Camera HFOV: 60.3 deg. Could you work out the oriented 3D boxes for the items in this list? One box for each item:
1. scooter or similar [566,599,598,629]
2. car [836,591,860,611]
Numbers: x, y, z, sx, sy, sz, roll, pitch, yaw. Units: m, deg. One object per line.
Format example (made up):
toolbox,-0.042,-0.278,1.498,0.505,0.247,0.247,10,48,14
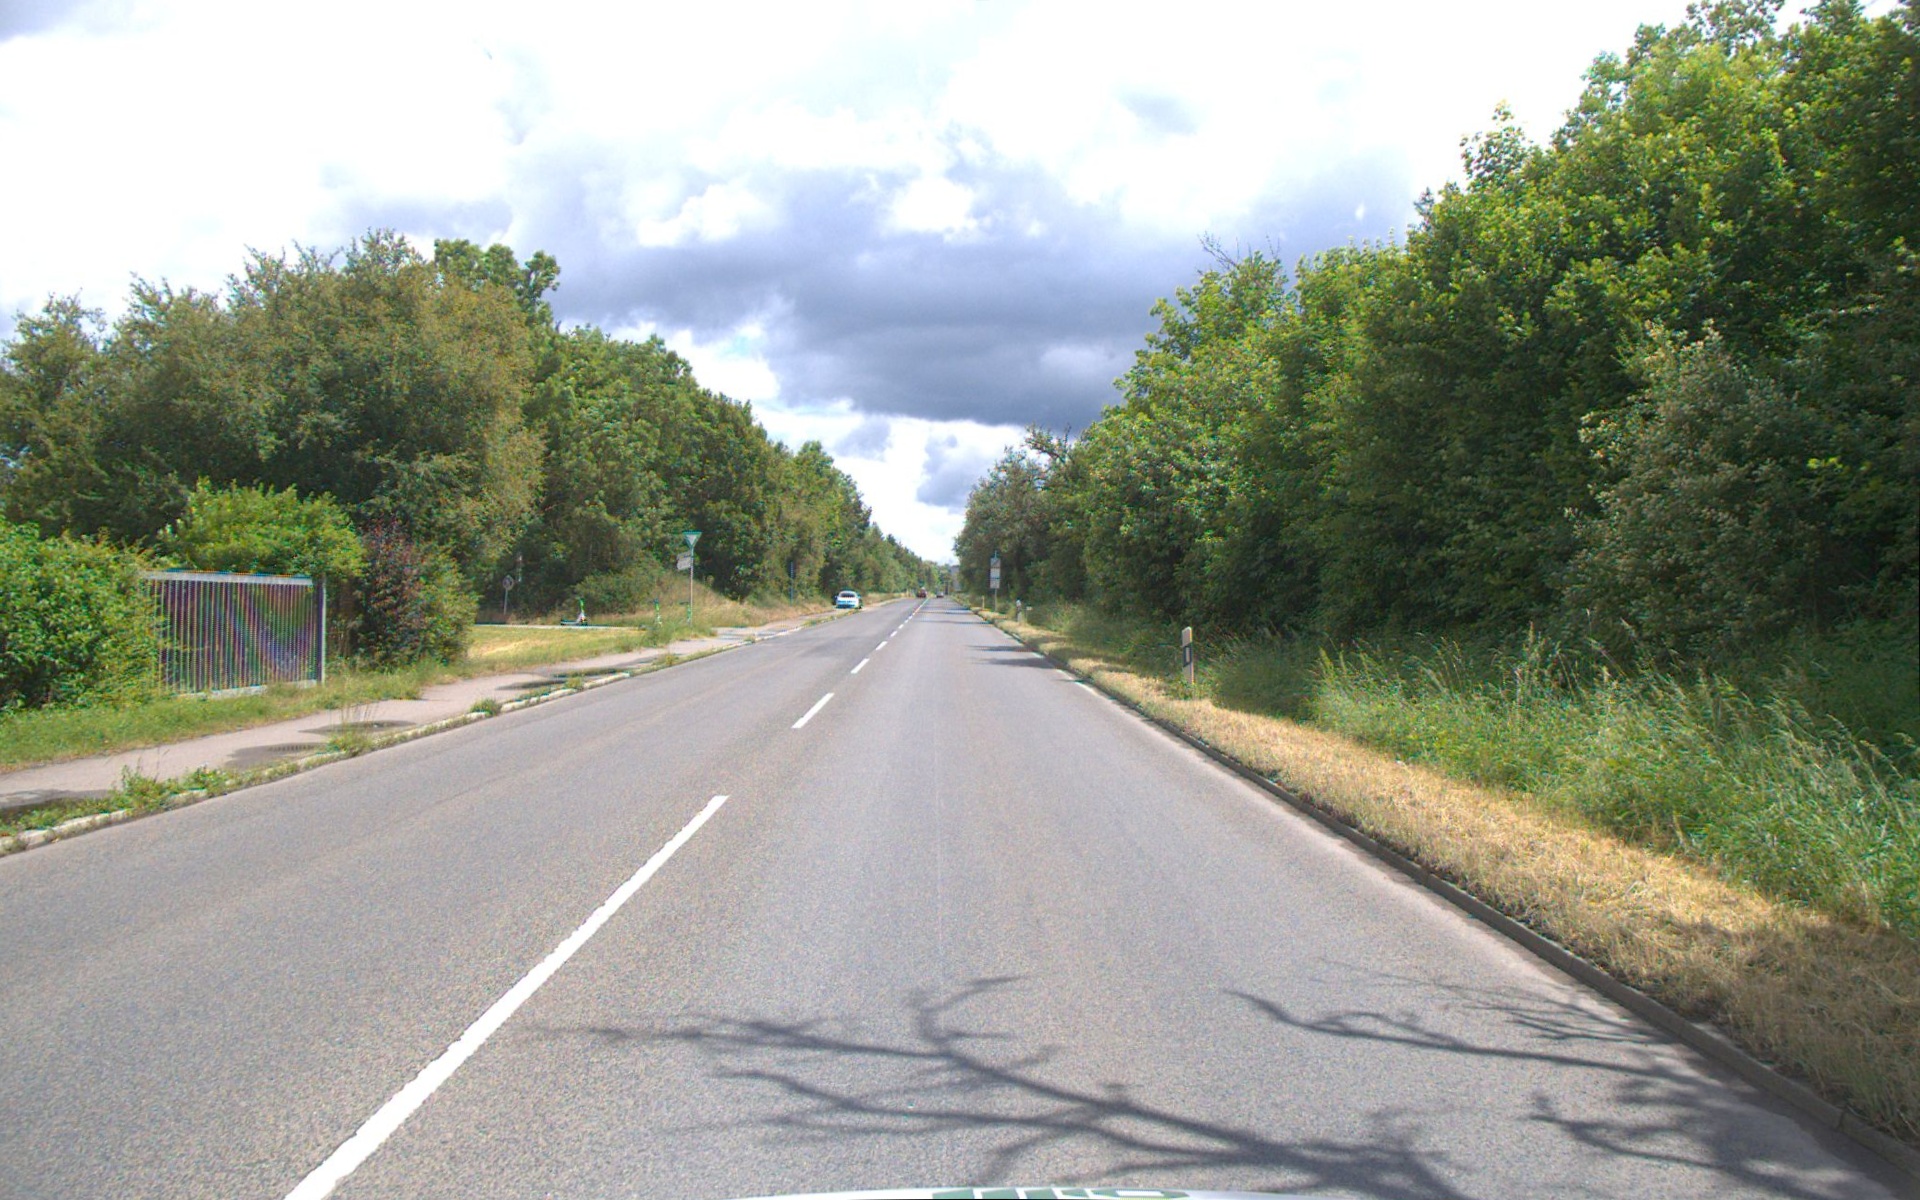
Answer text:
scooter or similar,-15.425,0.571,67.509,1.217,1.189,0.407,1,0,12
car,-9.137,0.128,135.366,1.761,1.570,3.954,0,-1,-1
